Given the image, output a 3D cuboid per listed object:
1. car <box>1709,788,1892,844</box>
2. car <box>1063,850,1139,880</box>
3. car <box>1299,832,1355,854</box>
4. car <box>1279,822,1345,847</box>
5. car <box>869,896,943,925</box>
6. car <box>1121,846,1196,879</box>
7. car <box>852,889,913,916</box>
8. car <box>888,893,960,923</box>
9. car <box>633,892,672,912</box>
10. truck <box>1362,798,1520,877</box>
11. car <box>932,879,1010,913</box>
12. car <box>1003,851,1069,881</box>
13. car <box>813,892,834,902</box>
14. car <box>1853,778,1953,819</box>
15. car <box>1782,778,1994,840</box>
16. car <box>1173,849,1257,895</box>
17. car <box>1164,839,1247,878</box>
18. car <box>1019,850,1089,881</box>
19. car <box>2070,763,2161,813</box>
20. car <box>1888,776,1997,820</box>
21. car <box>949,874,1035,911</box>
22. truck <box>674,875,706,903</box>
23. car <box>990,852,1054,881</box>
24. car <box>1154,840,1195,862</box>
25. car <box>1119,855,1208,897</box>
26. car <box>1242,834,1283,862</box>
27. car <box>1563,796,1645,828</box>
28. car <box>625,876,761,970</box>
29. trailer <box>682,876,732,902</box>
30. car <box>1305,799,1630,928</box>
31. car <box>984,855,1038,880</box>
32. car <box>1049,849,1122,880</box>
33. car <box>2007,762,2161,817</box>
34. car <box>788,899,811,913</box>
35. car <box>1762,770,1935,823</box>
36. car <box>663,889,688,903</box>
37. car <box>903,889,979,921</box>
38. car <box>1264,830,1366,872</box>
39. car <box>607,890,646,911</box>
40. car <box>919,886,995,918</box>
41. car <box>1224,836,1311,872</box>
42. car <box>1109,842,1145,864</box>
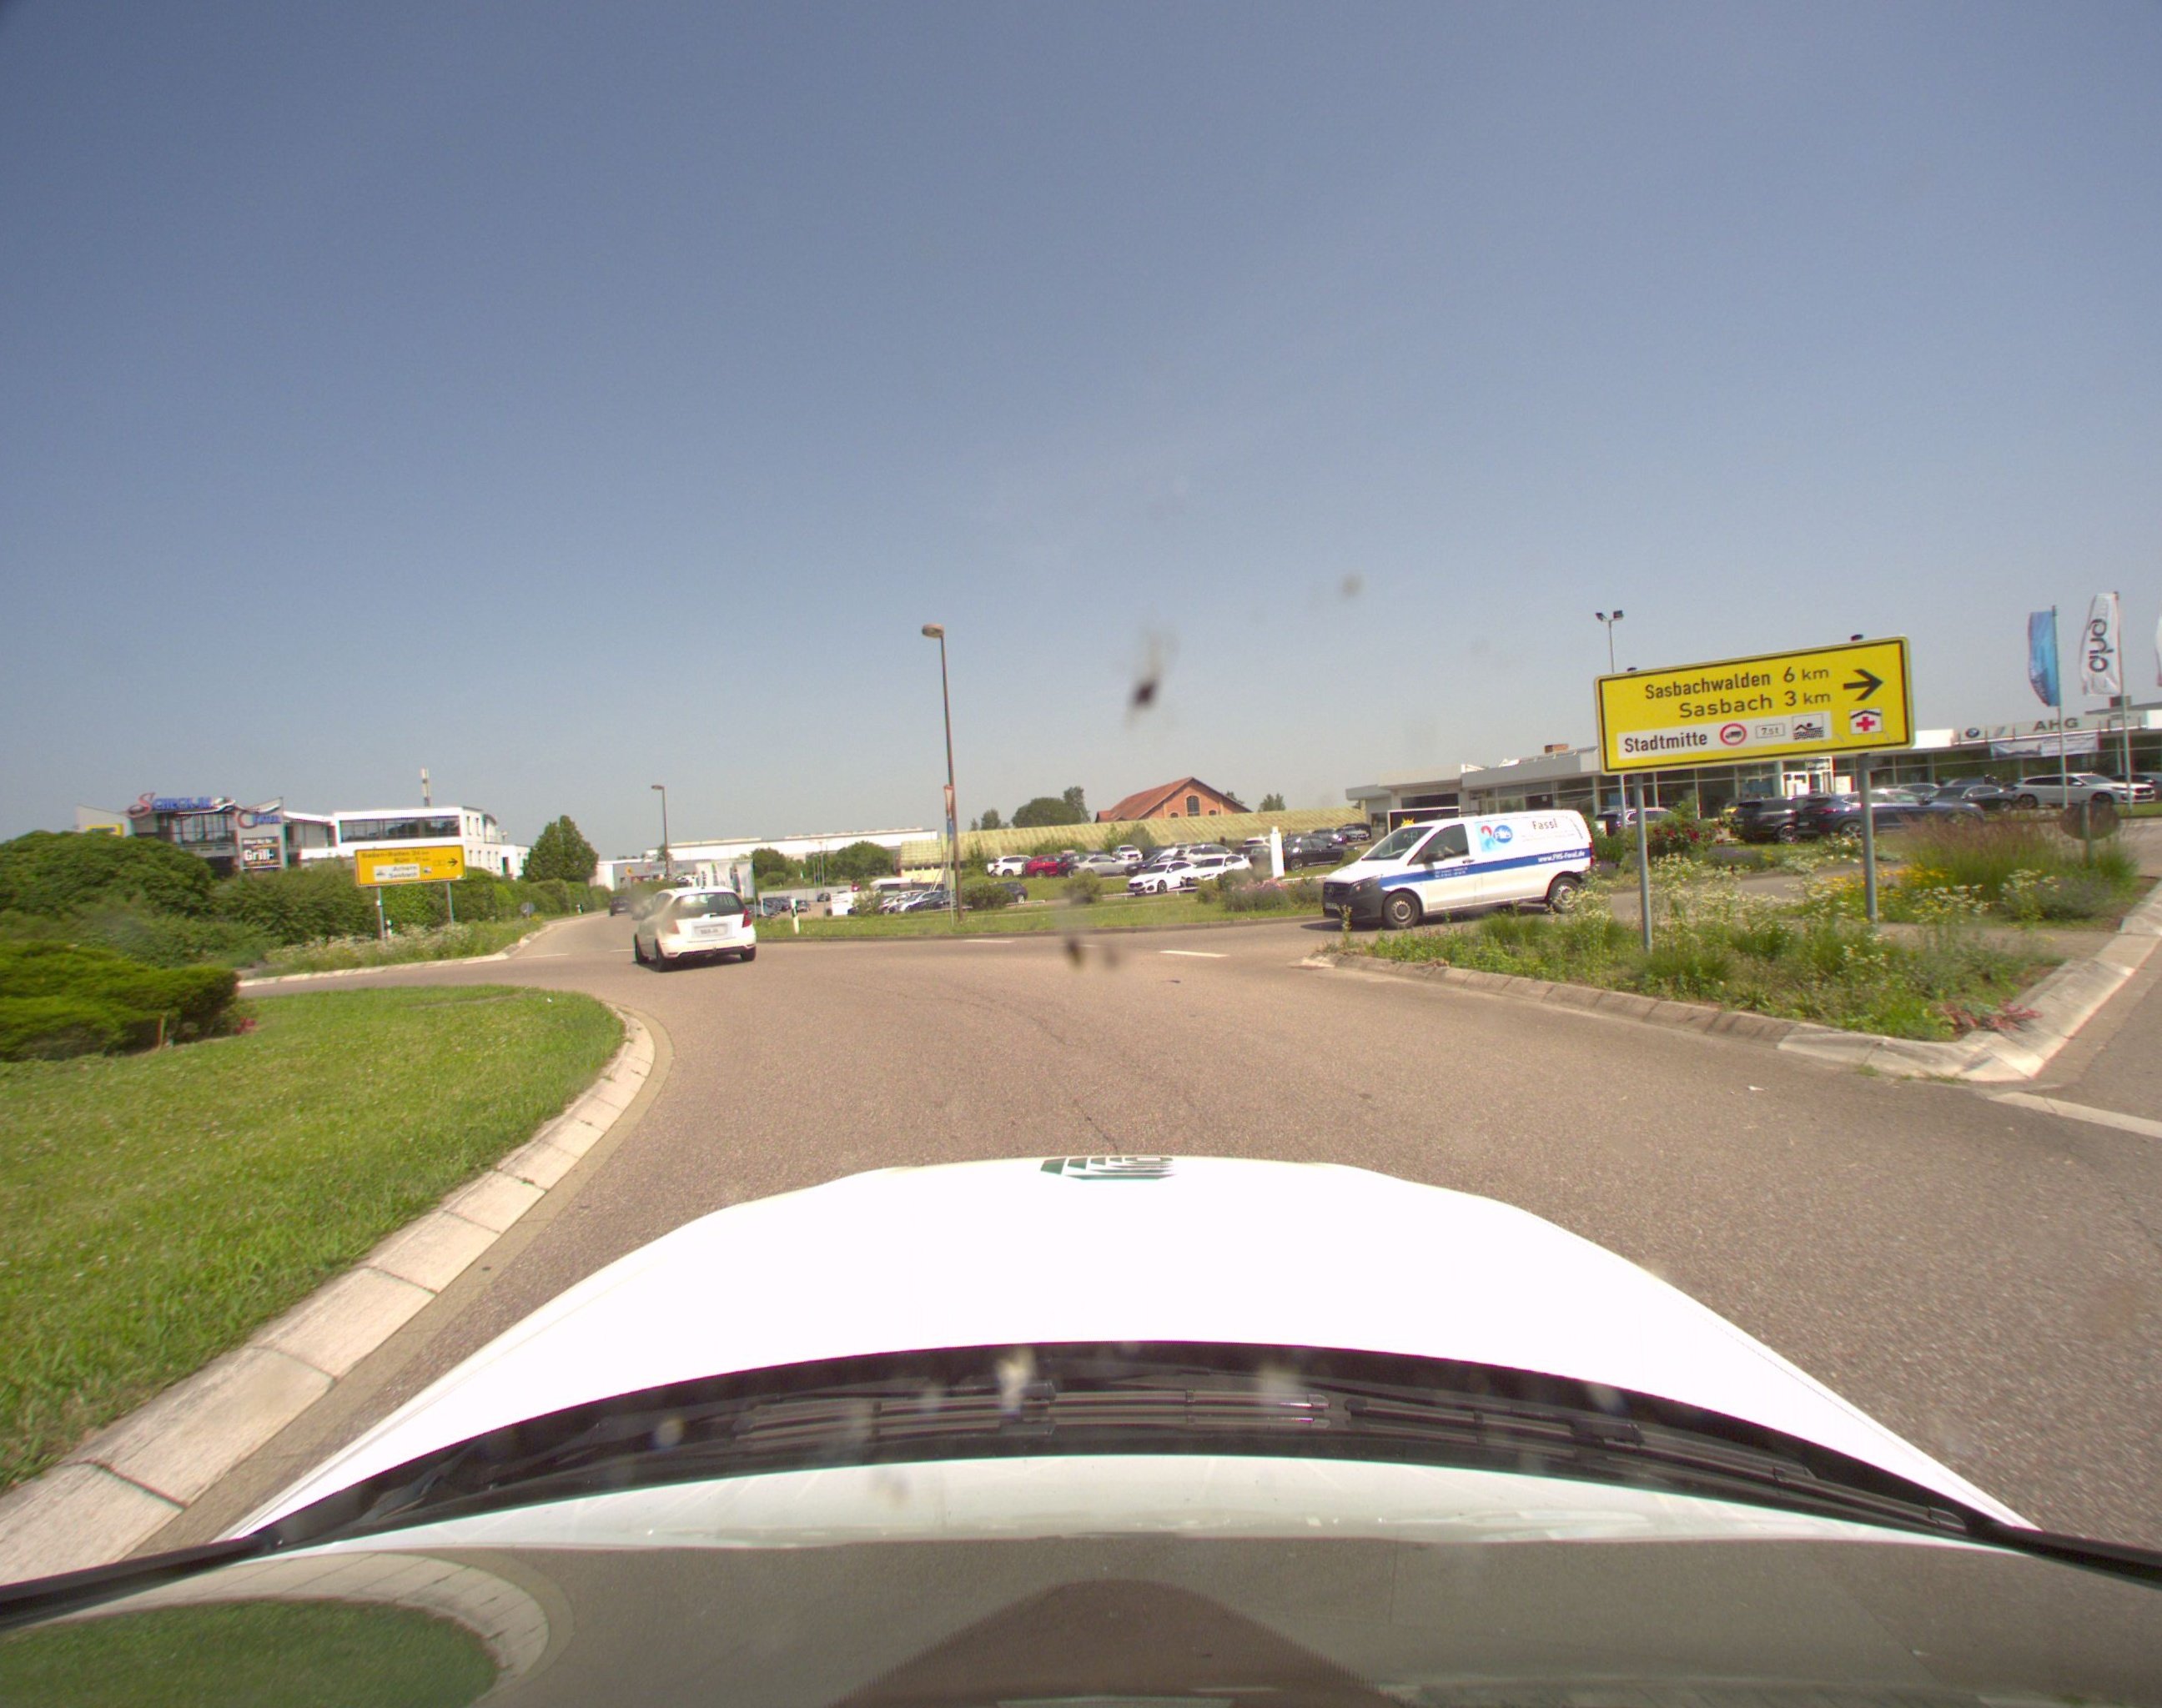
[{"bbox_3d":[24.929,-1.284,28.427,4.325,1.512,1.919,-5,0,19],"label":"car"},{"bbox_3d":[1.238,0.697,52.113,4.459,1.499,1.941,-5,0,-13],"label":"car"},{"bbox_3d":[17.243,-0.745,57.203,1.666,1.275,3.304,-5,0,-38],"label":"car"},{"bbox_3d":[17.827,-1.504,62.860,4.452,1.522,1.944,-5,0,-9],"label":"car"},{"bbox_3d":[-12.799,4.126,59.581,4.800,1.508,1.979,-6,-2,-32],"label":"car"},{"bbox_3d":[4.493,0.477,47.511,3.992,1.526,1.945,-5,0,-7],"label":"car"},{"bbox_3d":[-15.172,3.712,62.303,4.019,1.552,1.978,-5,-3,-36],"label":"car"},{"bbox_3d":[-10.612,3.649,55.171,4.278,1.465,1.854,-6,-2,-32],"label":"car"},{"bbox_3d":[-48.036,5.390,91.367,1.985,2.014,4.004,-4,-2,4],"label":"car"},{"bbox_3d":[14.672,-0.671,33.322,5.605,2.664,1.944,-5,0,-8],"label":"truck"},{"bbox_3d":[-6.671,2.542,49.680,4.286,1.482,1.900,-6,-2,-41],"label":"car"},{"bbox_3d":[-3.268,0.891,58.932,4.459,1.747,1.831,-5,0,-13],"label":"car"},{"bbox_3d":[-40.434,6.769,127.842,1.988,1.398,3.998,-4,-2,-1],"label":"car"},{"bbox_3d":[40.105,-2.694,39.762,3.686,1.654,1.576,-3,-2,-10],"label":"car"},{"bbox_3d":[25.381,-1.382,25.828,4.325,1.512,1.919,-5,0,19],"label":"car"},{"bbox_3d":[6.383,0.819,38.345,1.745,1.570,4.697,-5,2,38],"label":"car"},{"bbox_3d":[6.894,0.248,45.347,4.001,1.750,1.941,-6,0,-13],"label":"car"},{"bbox_3d":[-1.884,0.788,56.697,4.459,1.747,1.941,-5,0,-13],"label":"car"},{"bbox_3d":[50.533,-3.177,38.522,1.993,2.014,4.248,-3,-2,-9],"label":"car"},{"bbox_3d":[39.175,-2.537,37.075,3.686,1.654,1.576,-3,-2,-10],"label":"car"},{"bbox_3d":[-5.162,2.235,47.568,4.598,1.565,1.900,-6,-2,-41],"label":"car"},{"bbox_3d":[-65.950,5.861,137.525,2.508,4.257,6.105,-5,-1,-3],"label":"truck"},{"bbox_3d":[-4.469,0.940,61.172,4.459,1.747,1.831,-5,0,-13],"label":"car"},{"bbox_3d":[7.976,-0.248,69.726,2.189,1.596,4.288,-5,0,-11],"label":"car"},{"bbox_3d":[4.078,1.062,39.800,1.746,1.570,4.606,-6,-1,43],"label":"car"},{"bbox_3d":[12.073,-0.412,54.011,1.637,1.586,4.294,-5,0,26],"label":"car"},{"bbox_3d":[33.066,-2.657,51.536,4.025,1.586,1.905,-5,0,-8],"label":"car"},{"bbox_3d":[-8.130,1.398,16.887,1.795,1.603,3.849,-3,-2,-36],"label":"car"},{"bbox_3d":[-66.270,6.057,144.633,2.664,4.241,14.547,-3,-2,-3],"label":"trailer"},{"bbox_3d":[7.062,0.168,15.138,5.209,1.938,1.856,-3,-2,-8],"label":"car"},{"bbox_3d":[-5.480,1.049,63.341,3.880,1.532,1.760,-5,0,-13],"label":"car"},{"bbox_3d":[0.273,0.691,54.183,4.459,1.634,1.941,-5,0,-13],"label":"car"},{"bbox_3d":[47.083,-2.967,38.264,1.993,2.014,4.248,-3,-2,-9],"label":"car"},{"bbox_3d":[-34.299,6.264,99.295,2.137,1.457,4.511,-3,-2,-13],"label":"car"},{"bbox_3d":[29.041,-2.152,31.007,4.325,1.512,1.919,-5,0,19],"label":"car"},{"bbox_3d":[-62.954,6.547,126.552,1.989,2.014,3.996,-3,-2,-3],"label":"car"},{"bbox_3d":[-9.166,3.323,53.412,4.460,1.465,1.900,-6,-2,-40],"label":"car"},{"bbox_3d":[11.644,-0.125,40.618,4.418,1.499,1.941,-7,-1,-13],"label":"car"},{"bbox_3d":[-35.346,3.625,63.409,1.835,1.470,4.380,-3,-2,-20],"label":"car"},{"bbox_3d":[-7.845,3.016,51.657,4.278,1.412,1.903,-7,-2,-32],"label":"car"},{"bbox_3d":[9.968,-0.013,43.675,4.001,1.499,1.941,-6,1,-13],"label":"car"},{"bbox_3d":[3.834,-0.038,68.522,1.917,1.596,4.288,-5,0,-10],"label":"car"}]
